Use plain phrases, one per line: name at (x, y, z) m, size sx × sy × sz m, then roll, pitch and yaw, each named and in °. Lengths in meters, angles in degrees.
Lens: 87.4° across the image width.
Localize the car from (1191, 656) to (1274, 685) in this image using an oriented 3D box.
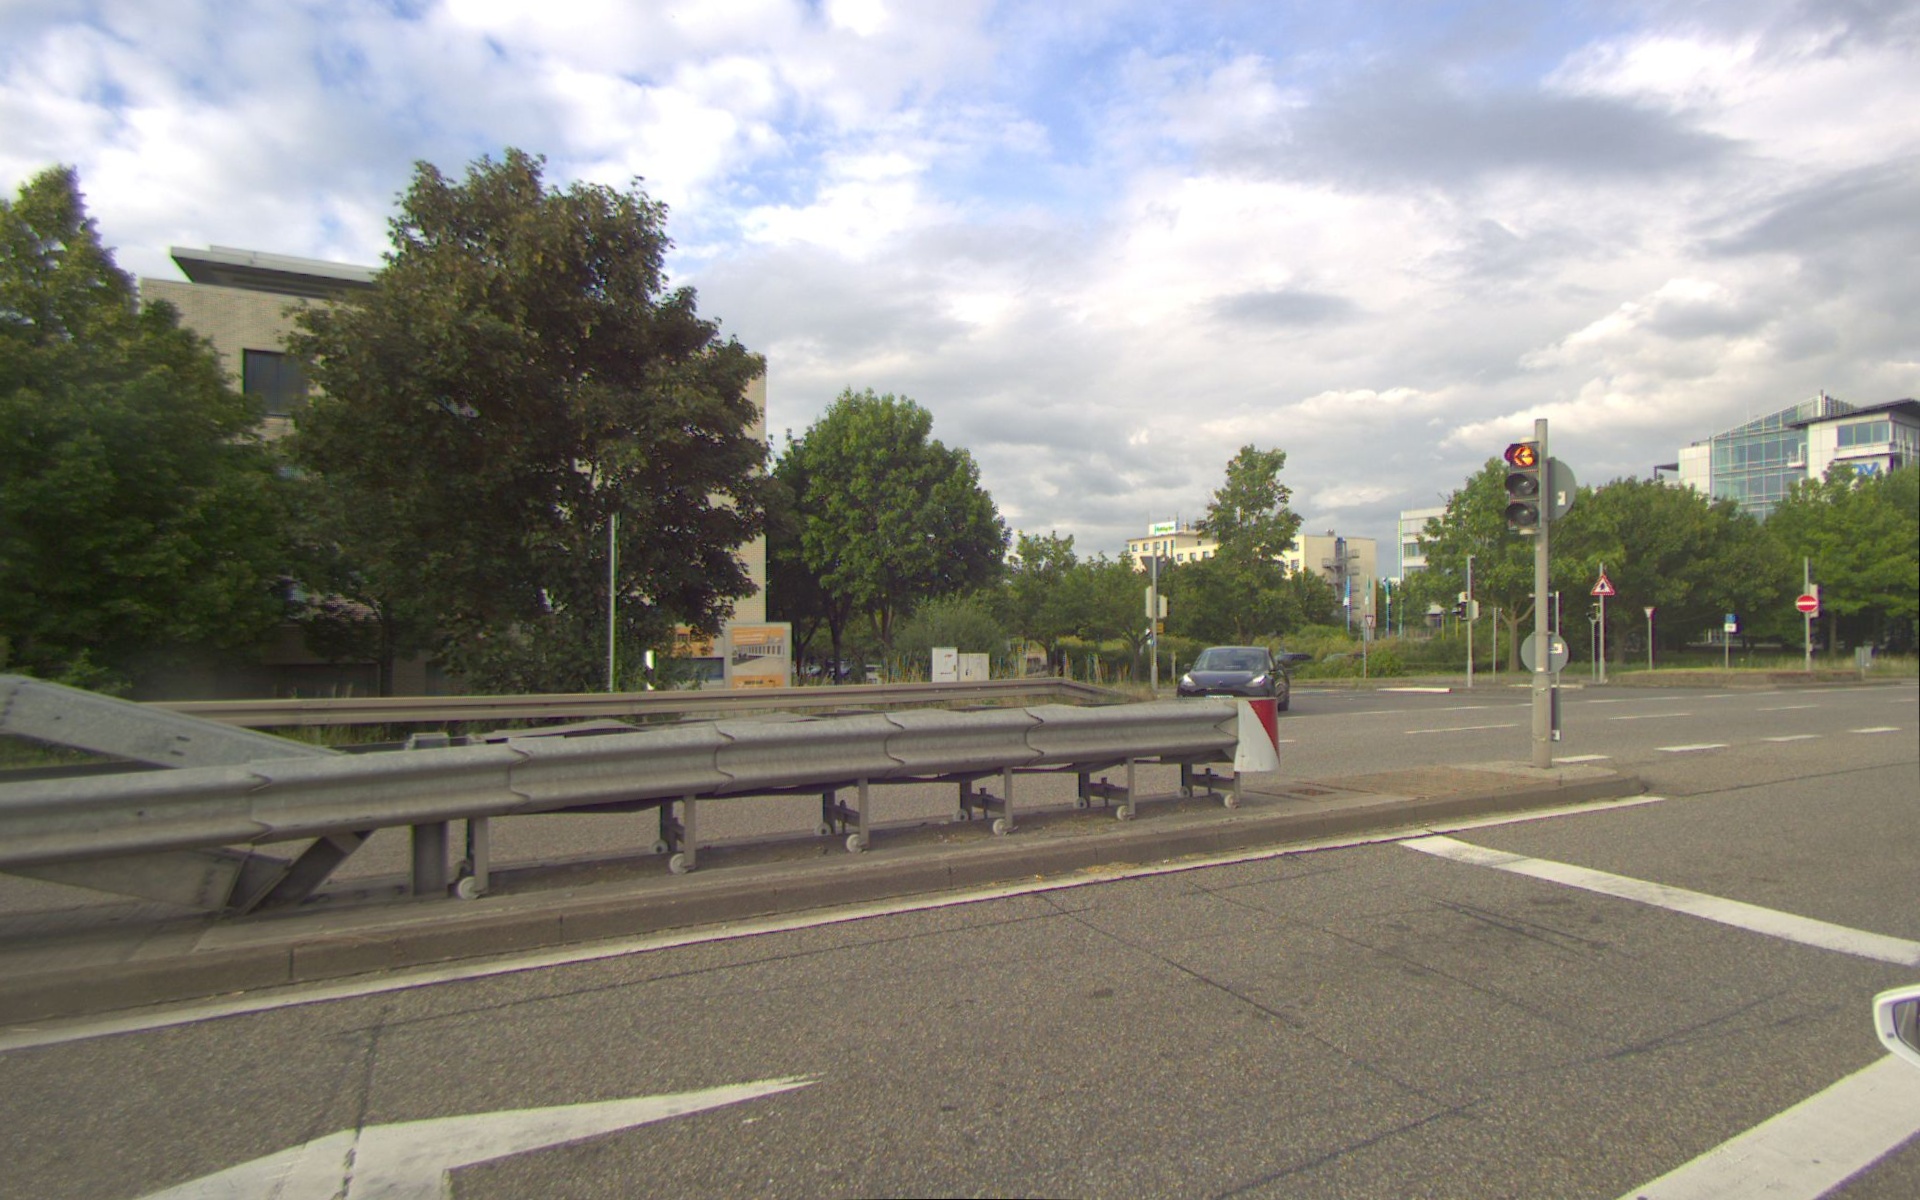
car at (13.722, 3.547, 50.720) m, size 3.697 × 1.359 × 1.579 m, roll -5°, pitch -6°, yaw 41°

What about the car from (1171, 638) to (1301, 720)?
car at (5.883, 1.597, 21.050) m, size 1.886 × 1.475 × 4.371 m, roll -4°, pitch -4°, yaw 24°
